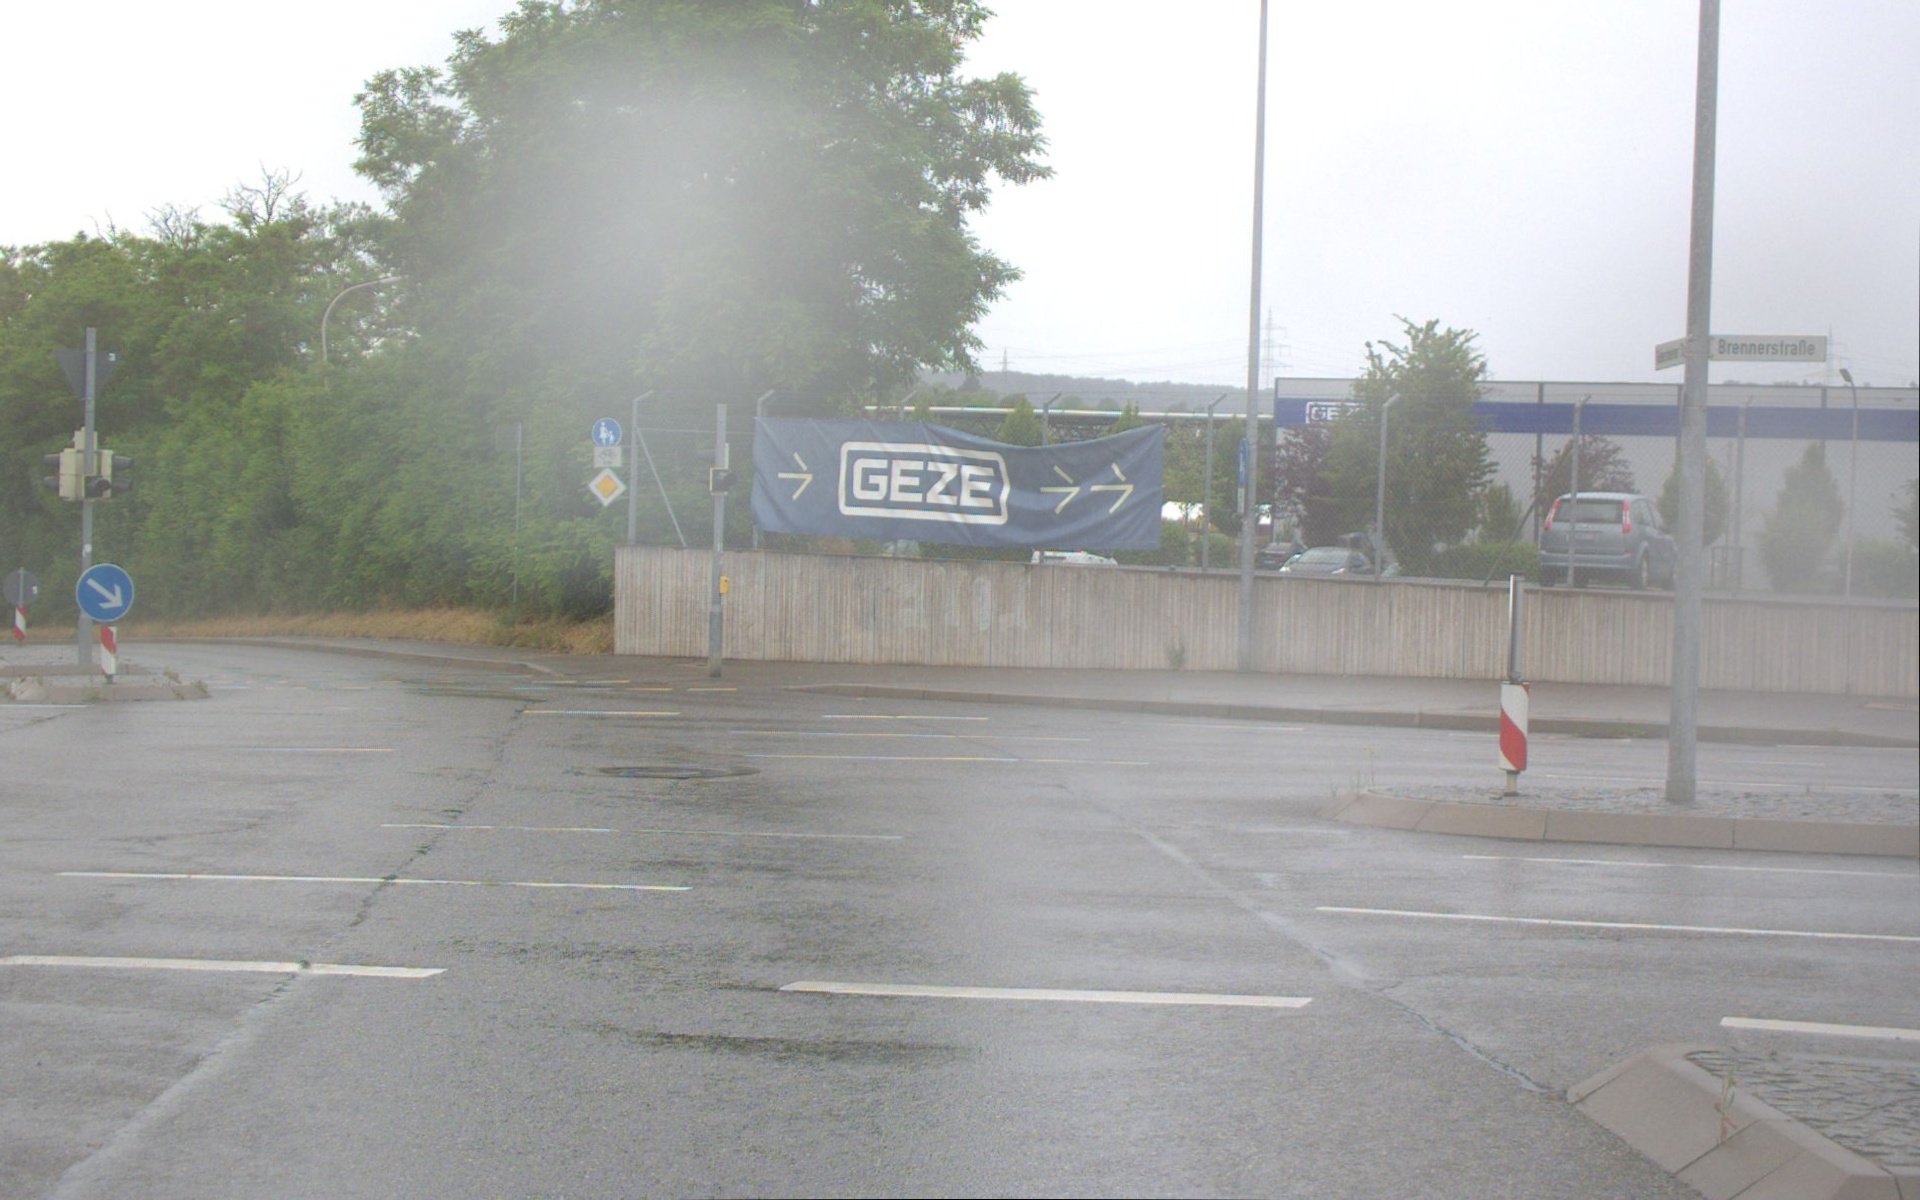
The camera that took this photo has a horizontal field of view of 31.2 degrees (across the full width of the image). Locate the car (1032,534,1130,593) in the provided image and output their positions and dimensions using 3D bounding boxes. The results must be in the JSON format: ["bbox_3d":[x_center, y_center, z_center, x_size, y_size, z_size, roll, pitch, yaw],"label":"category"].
[{"bbox_3d":[3.401,-1.015,95.899,1.668,1.601,3.527,1,1,21],"label":"car"}]

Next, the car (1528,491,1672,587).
[{"bbox_3d":[10.721,-0.999,57.433,1.744,1.548,3.527,1,1,21],"label":"car"}]
